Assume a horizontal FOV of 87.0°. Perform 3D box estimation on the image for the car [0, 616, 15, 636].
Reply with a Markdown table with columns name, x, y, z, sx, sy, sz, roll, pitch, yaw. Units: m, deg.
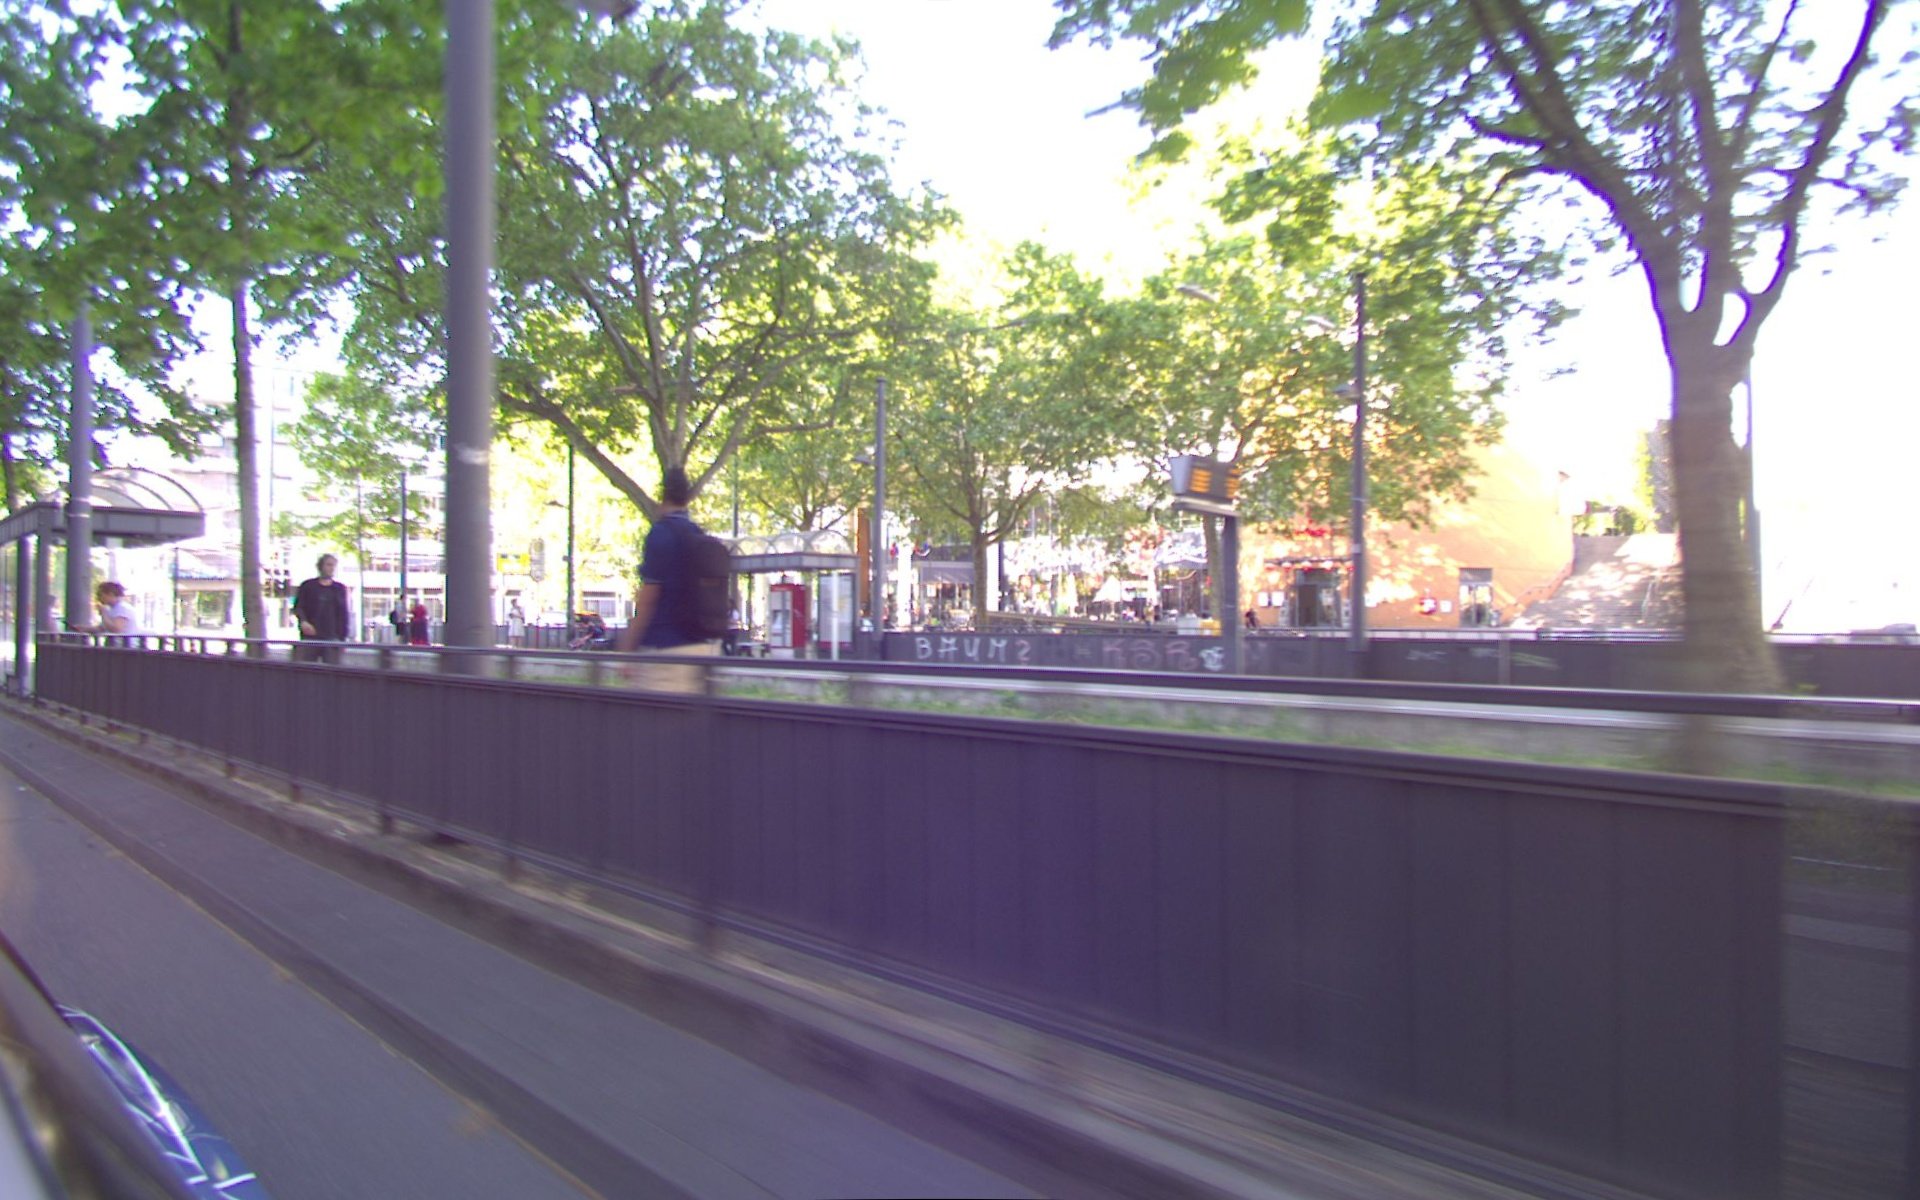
| name | x | y | z | sx | sy | sz | roll | pitch | yaw |
| --- | --- | --- | --- | --- | --- | --- | --- | --- | --- |
| car | -87.853 | 2.415 | 91.956 | 1.966 | 1.796 | 4.012 | -2 | 0 | -30 |

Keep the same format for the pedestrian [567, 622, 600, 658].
| name | x | y | z | sx | sy | sz | roll | pitch | yaw |
| --- | --- | --- | --- | --- | --- | --- | --- | --- | --- |
| pedestrian | -11.362 | 1.207 | 30.552 | 0.713 | 1.048 | 0.699 | 0 | -1 | -42 |

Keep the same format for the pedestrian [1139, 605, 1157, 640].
| name | x | y | z | sx | sy | sz | roll | pitch | yaw |
| --- | --- | --- | --- | --- | --- | --- | --- | --- | --- |
| pedestrian | 8.811 | 1.051 | 47.373 | 0.597 | 1.616 | 0.572 | -1 | -1 | 39 |

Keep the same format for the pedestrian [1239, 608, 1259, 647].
| name | x | y | z | sx | sy | sz | roll | pitch | yaw |
| --- | --- | --- | --- | --- | --- | --- | --- | --- | --- |
| pedestrian | 11.873 | 1.125 | 41.536 | 0.571 | 1.616 | 0.580 | 0 | -1 | -45 |

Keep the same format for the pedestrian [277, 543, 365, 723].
| name | x | y | z | sx | sy | sz | roll | pitch | yaw |
| --- | --- | --- | --- | --- | --- | --- | --- | --- | --- |
| pedestrian | -6.874 | 0.350 | 10.890 | 0.637 | 1.853 | 0.640 | -2 | -1 | 40 |

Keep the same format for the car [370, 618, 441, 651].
| name | x | y | z | sx | sy | sz | roll | pitch | yaw |
| --- | --- | --- | --- | --- | --- | --- | --- | --- | --- |
| car | -25.749 | 1.576 | 46.960 | 3.340 | 1.466 | 1.847 | -1 | -1 | 41 |

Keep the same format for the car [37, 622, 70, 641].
| name | x | y | z | sx | sy | sz | roll | pitch | yaw |
| --- | --- | --- | --- | --- | --- | --- | --- | --- | --- |
| car | -74.205 | 2.540 | 82.884 | 1.881 | 1.494 | 4.293 | 0 | -1 | -41 |

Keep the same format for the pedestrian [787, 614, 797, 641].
| name | x | y | z | sx | sy | sz | roll | pitch | yaw |
| --- | --- | --- | --- | --- | --- | --- | --- | --- | --- |
| pedestrian | -10.678 | 1.740 | 64.399 | 0.616 | 1.696 | 0.531 | -1 | -1 | -6 |

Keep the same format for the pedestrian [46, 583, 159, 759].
| name | x | y | z | sx | sy | sz | roll | pitch | yaw |
| --- | --- | --- | --- | --- | --- | --- | --- | --- | --- |
| pedestrian | -8.771 | 0.691 | 10.359 | 0.644 | 1.703 | 0.733 | -1 | 1 | 39 |

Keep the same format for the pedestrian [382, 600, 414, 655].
| name | x | y | z | sx | sy | sz | roll | pitch | yaw |
| --- | --- | --- | --- | --- | --- | --- | --- | --- | --- |
| pedestrian | -18.284 | 0.883 | 32.925 | 0.674 | 1.767 | 0.649 | -1 | -1 | 32 |

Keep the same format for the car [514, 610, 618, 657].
| name | x | y | z | sx | sy | sz | roll | pitch | yaw |
| --- | --- | --- | --- | --- | --- | --- | --- | --- | --- |
| car | -14.563 | 1.225 | 37.299 | 3.999 | 1.652 | 1.972 | -1 | -2 | 42 |

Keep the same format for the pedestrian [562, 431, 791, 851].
| name | x | y | z | sx | sy | sz | roll | pitch | yaw |
| --- | --- | --- | --- | --- | --- | --- | --- | --- | --- |
| pedestrian | -1.368 | 0.184 | 4.906 | 0.824 | 1.816 | 0.701 | -1 | -1 | 33 |

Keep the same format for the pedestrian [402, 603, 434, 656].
| name | x | y | z | sx | sy | sz | roll | pitch | yaw |
| --- | --- | --- | --- | --- | --- | --- | --- | --- | --- |
| pedestrian | -17.551 | 0.945 | 32.774 | 0.697 | 1.708 | 0.679 | -1 | -1 | 32 |

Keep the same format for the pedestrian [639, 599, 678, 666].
| name | x | y | z | sx | sy | sz | roll | pitch | yaw |
| --- | --- | --- | --- | --- | --- | --- | --- | --- | --- |
| pedestrian | -7.563 | 0.806 | 25.367 | 0.666 | 1.654 | 0.662 | -1 | -1 | 29 |

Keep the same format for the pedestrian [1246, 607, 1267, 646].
| name | x | y | z | sx | sy | sz | roll | pitch | yaw |
| --- | --- | --- | --- | --- | --- | --- | --- | --- | --- |
| pedestrian | 12.288 | 1.103 | 41.941 | 0.571 | 1.616 | 0.598 | 0 | -1 | -45 |

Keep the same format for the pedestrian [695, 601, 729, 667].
| name | x | y | z | sx | sy | sz | roll | pitch | yaw |
| --- | --- | --- | --- | --- | --- | --- | --- | --- | --- |
| pedestrian | -5.797 | 0.786 | 23.678 | 0.549 | 1.509 | 0.549 | -1 | -1 | 29 |

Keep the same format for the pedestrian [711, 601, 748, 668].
| name | x | y | z | sx | sy | sz | roll | pitch | yaw |
| --- | --- | --- | --- | --- | --- | --- | --- | --- | --- |
| pedestrian | -5.302 | 0.789 | 23.317 | 0.605 | 1.497 | 0.566 | -1 | -1 | 29 |

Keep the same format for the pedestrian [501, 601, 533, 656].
| name | x | y | z | sx | sy | sz | roll | pitch | yaw |
| --- | --- | --- | --- | --- | --- | --- | --- | --- | --- |
| pedestrian | -14.307 | 0.926 | 32.688 | 0.635 | 1.753 | 0.690 | -1 | -1 | 32 |
